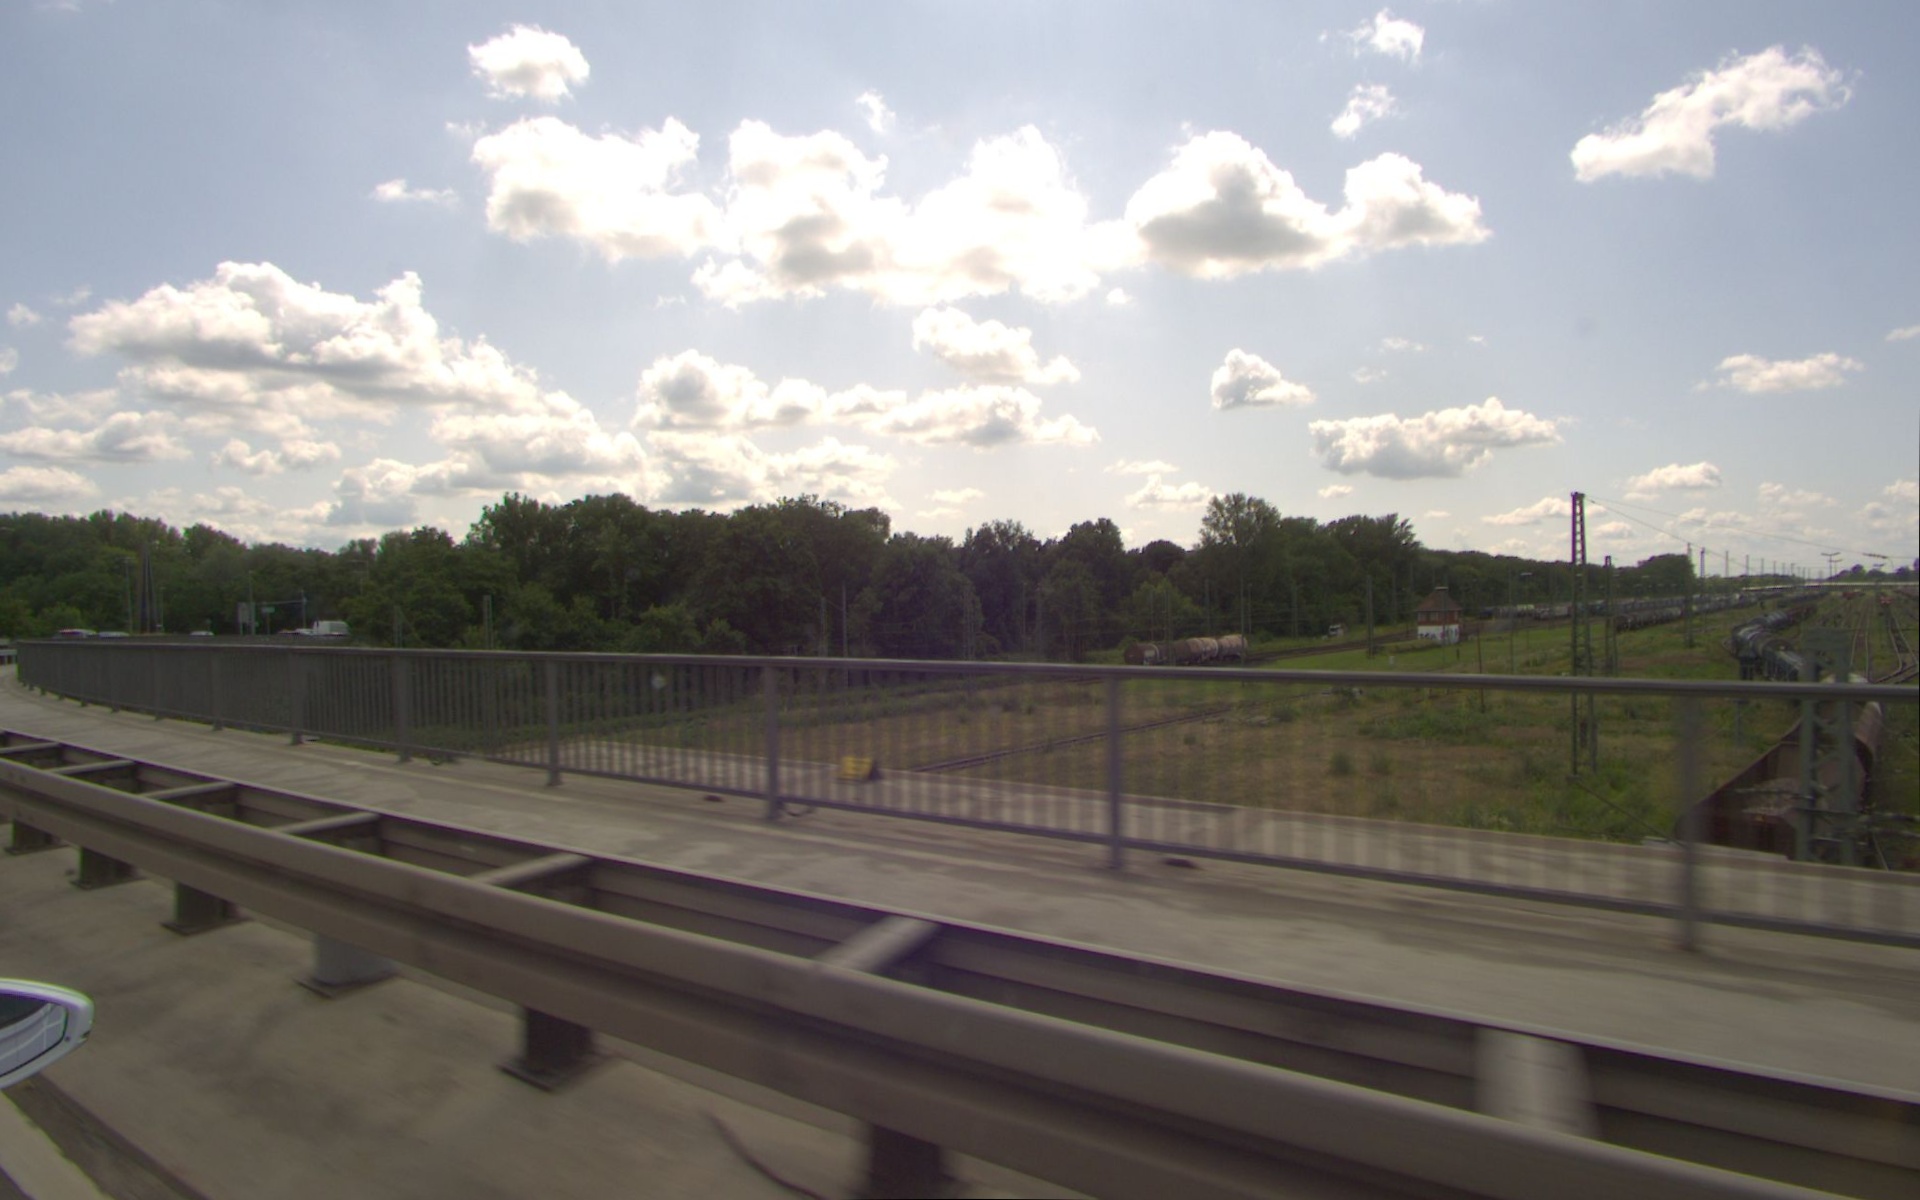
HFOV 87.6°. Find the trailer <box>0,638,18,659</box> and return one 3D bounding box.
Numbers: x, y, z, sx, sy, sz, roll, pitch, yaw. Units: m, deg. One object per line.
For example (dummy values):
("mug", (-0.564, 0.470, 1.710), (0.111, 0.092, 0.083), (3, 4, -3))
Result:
("trailer", (-58.172, 2.865, 59.088), (2.020, 1.224, 5.960), (1, -2, -26))

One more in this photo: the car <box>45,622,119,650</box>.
("car", (-54.094, 2.198, 61.788), (1.794, 1.672, 3.852), (1, -2, -14))

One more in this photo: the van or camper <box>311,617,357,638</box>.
("van or camper", (-70.766, 3.128, 113.264), (2.236, 2.370, 5.242), (1, -2, -4))

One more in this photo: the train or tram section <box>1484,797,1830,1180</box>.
("train or tram section", (15.296, 7.269, 21.307), (11.936, 4.204, 3.104), (-1, -3, -42))

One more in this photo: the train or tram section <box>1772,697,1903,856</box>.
("train or tram section", (38.334, 7.014, 43.324), (3.189, 4.204, 18.724), (-5, -3, 44))

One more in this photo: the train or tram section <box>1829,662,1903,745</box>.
("train or tram section", (62.261, 6.836, 68.862), (3.180, 4.204, 17.544), (-5, -3, 42))

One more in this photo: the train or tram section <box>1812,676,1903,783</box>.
("train or tram section", (50.618, 6.901, 56.226), (3.187, 4.204, 16.810), (-5, -3, 43))

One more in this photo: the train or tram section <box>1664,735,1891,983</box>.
("train or tram section", (25.769, 7.147, 30.933), (16.438, 4.204, 3.114), (-1, -3, -43))
